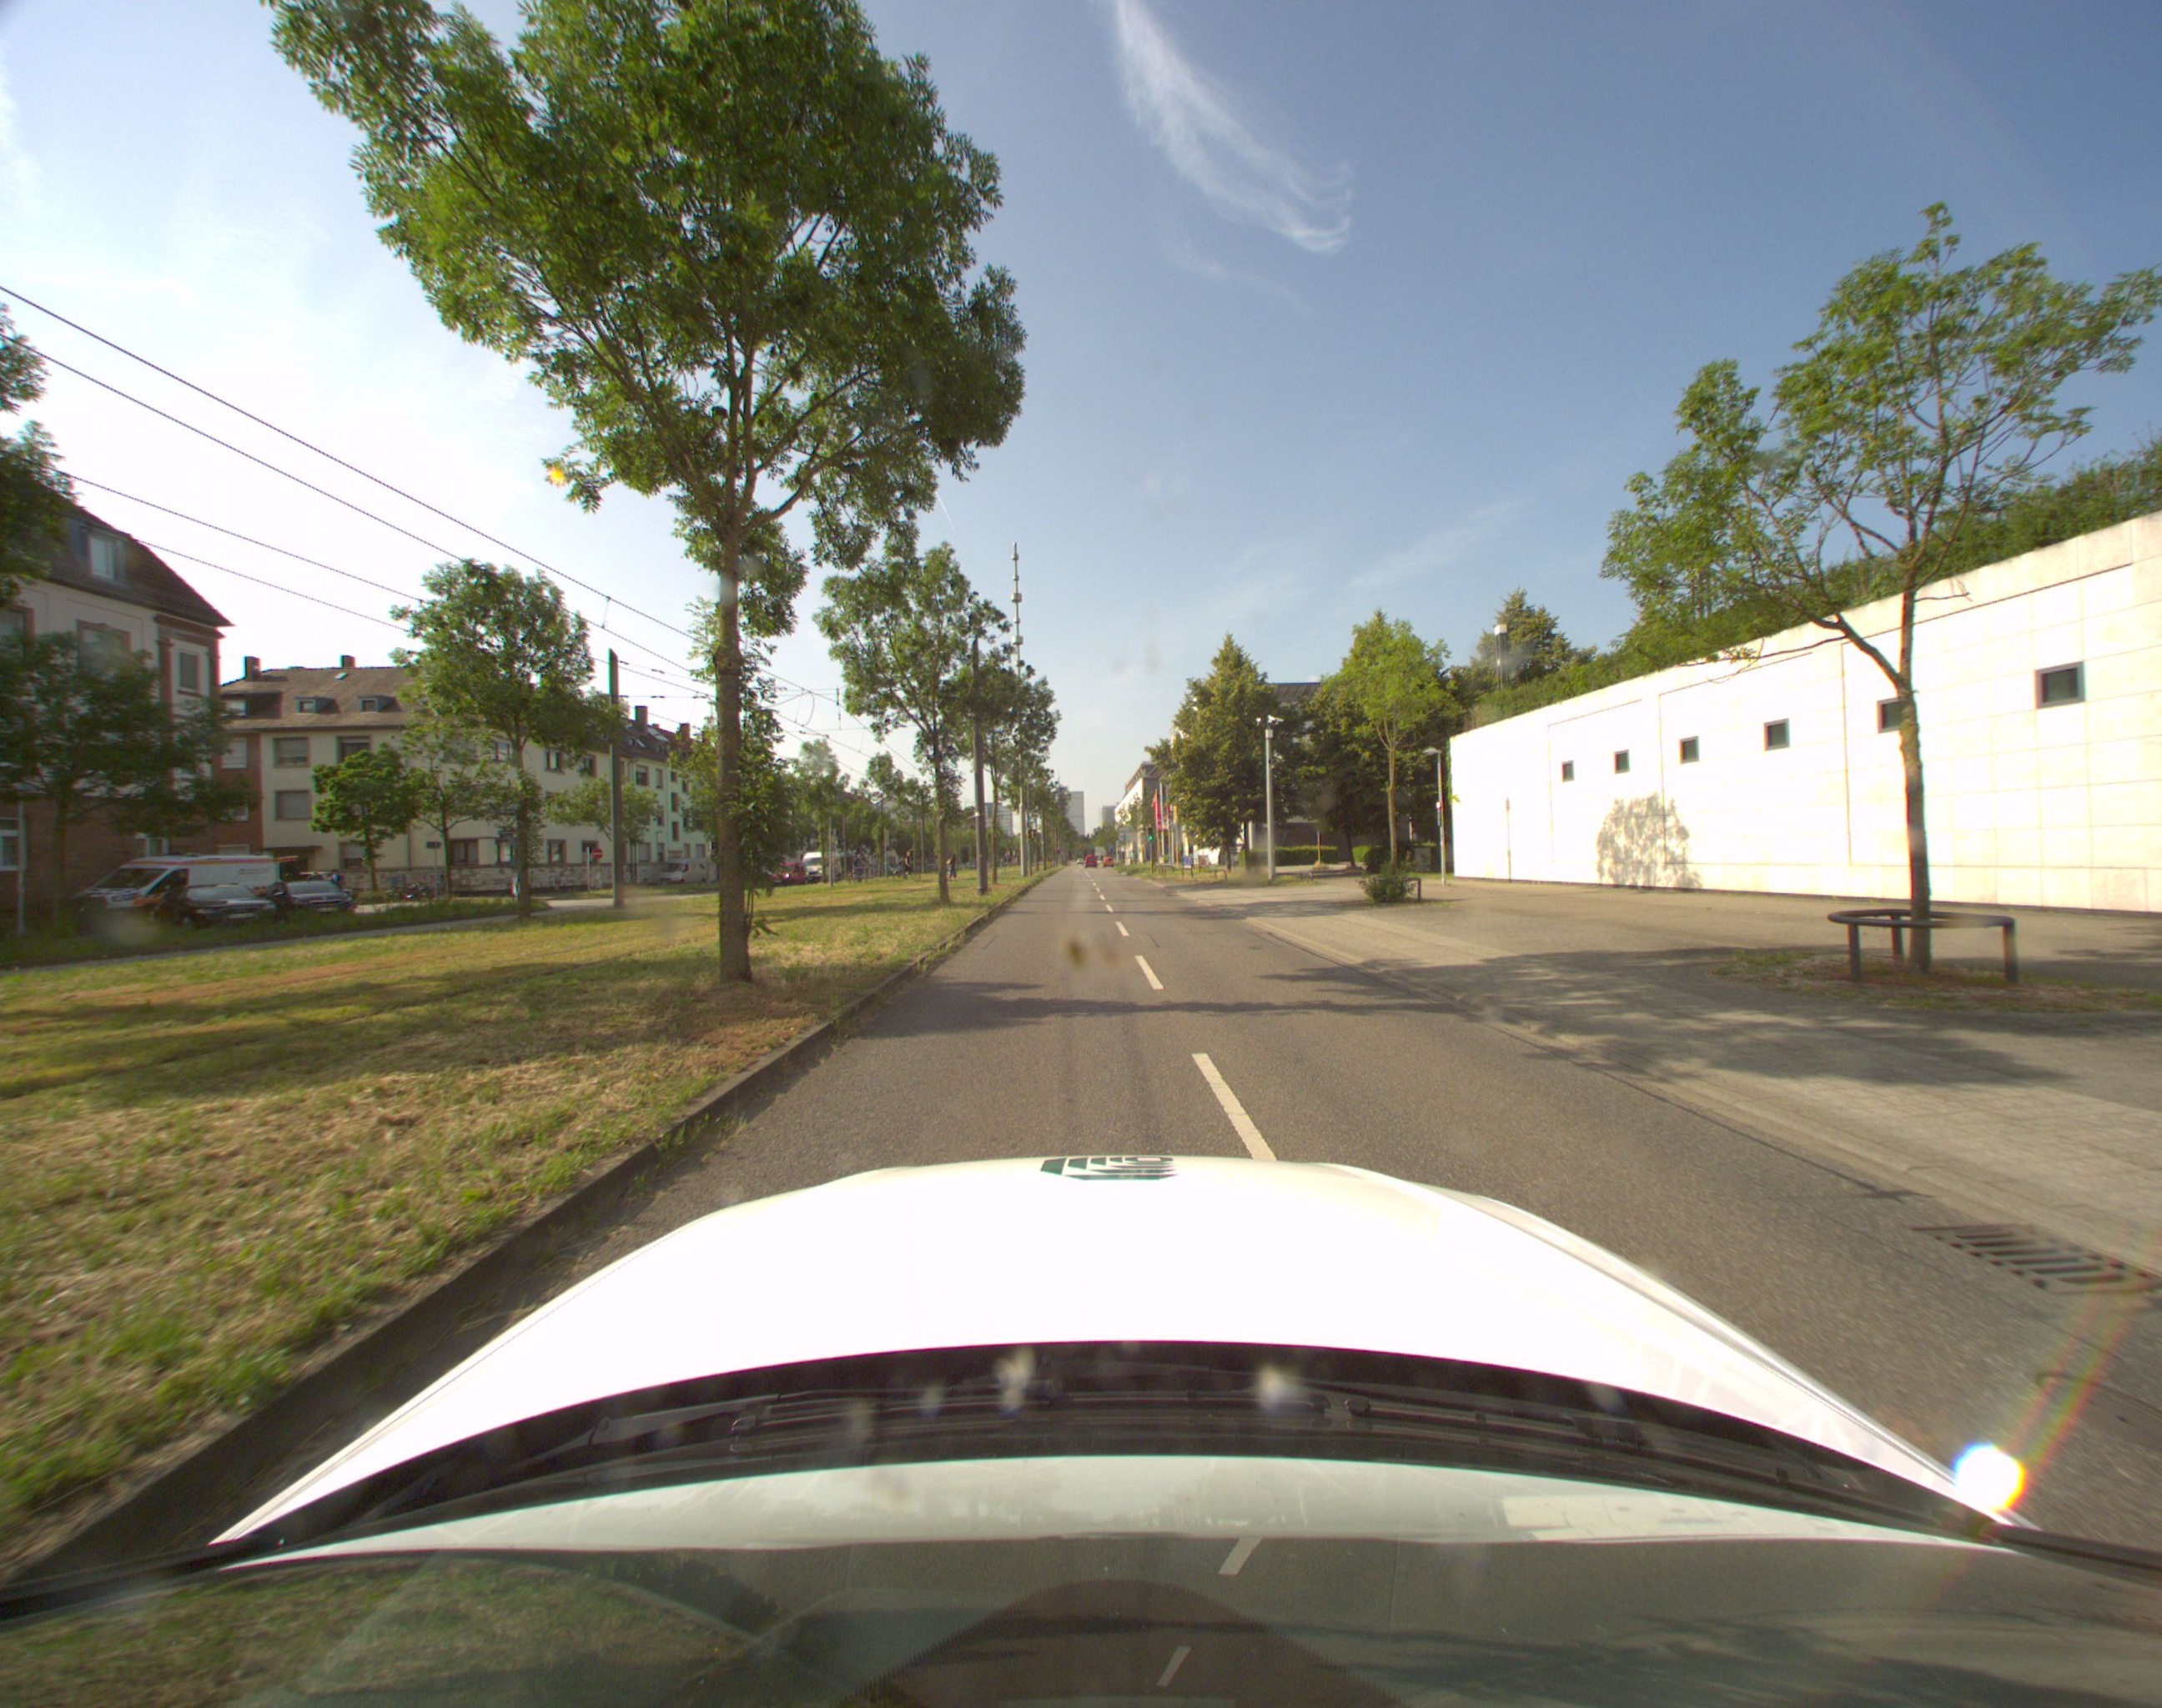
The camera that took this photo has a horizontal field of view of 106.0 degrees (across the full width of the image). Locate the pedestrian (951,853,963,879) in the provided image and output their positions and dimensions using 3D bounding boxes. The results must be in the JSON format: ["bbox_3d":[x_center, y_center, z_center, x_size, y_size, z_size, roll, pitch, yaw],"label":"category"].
[{"bbox_3d":[-7.535,0.748,49.533,0.623,1.572,0.711,1,-1,0],"label":"pedestrian"}]

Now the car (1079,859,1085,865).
[{"bbox_3d":[0.260,2.265,233.186,1.742,1.650,3.215,1,-1,0],"label":"car"}]

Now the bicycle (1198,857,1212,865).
[{"bbox_3d":[14.999,0.858,98.711,1.617,0.888,0.550,1,-1,-2],"label":"bicycle"}]

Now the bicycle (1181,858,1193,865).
[{"bbox_3d":[14.789,1.015,113.488,1.617,0.888,0.550,1,-1,-2],"label":"bicycle"}]

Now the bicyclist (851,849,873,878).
[{"bbox_3d":[-13.482,0.591,50.111,1.153,1.762,0.680,1,-1,-27],"label":"bicyclist"}]

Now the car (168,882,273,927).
[{"bbox_3d":[-25.380,1.438,24.004,3.124,1.161,1.506,0,-1,32],"label":"car"}]

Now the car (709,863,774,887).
[{"bbox_3d":[-26.357,1.601,63.148,5.258,1.738,2.012,0,-1,33],"label":"car"}]

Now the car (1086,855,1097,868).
[{"bbox_3d":[1.627,1.129,125.811,1.742,2.014,3.215,1,-1,0],"label":"car"}]

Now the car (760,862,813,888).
[{"bbox_3d":[-20.767,1.446,57.575,1.956,1.694,4.300,1,-1,3],"label":"car"}]

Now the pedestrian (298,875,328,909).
[{"bbox_3d":[-35.058,1.714,37.193,0.634,1.523,0.726,0,-1,3],"label":"pedestrian"}]

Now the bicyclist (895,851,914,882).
[{"bbox_3d":[-11.211,0.811,51.831,1.147,1.934,0.683,1,-1,-12],"label":"bicyclist"}]

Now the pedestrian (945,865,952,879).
[{"bbox_3d":[-8.064,1.088,49.700,0.340,0.875,0.461,0,-1,0],"label":"pedestrian"}]

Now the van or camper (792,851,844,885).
[{"bbox_3d":[-20.670,1.095,64.302,2.197,2.531,6.027,1,-1,-1],"label":"van or camper"}]

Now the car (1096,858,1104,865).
[{"bbox_3d":[4.467,1.738,192.071,1.742,1.650,3.215,1,-1,0],"label":"car"}]

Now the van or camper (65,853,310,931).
[{"bbox_3d":[-32.586,1.284,30.143,2.033,2.567,6.353,1,-1,-1],"label":"van or camper"}]

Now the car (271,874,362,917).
[{"bbox_3d":[-25.747,1.359,27.413,3.124,1.326,1.506,0,-1,33],"label":"car"}]

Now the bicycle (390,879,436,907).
[{"bbox_3d":[-35.340,2.062,43.083,3.019,1.360,0.986,0,-1,33],"label":"bicycle"}]

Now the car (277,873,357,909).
[{"bbox_3d":[-40.702,1.913,43.503,2.021,1.767,4.292,1,-1,-28],"label":"car"}]

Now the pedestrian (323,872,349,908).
[{"bbox_3d":[-34.908,1.691,38.156,0.579,1.665,0.619,0,-1,3],"label":"pedestrian"}]

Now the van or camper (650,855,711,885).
[{"bbox_3d":[-33.272,1.307,67.829,1.986,2.328,5.829,1,-1,2],"label":"van or camper"}]

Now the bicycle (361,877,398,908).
[{"bbox_3d":[-35.928,1.927,41.697,3.179,1.461,0.936,0,-1,41],"label":"bicycle"}]

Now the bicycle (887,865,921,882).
[{"bbox_3d":[-11.238,1.243,51.778,2.067,1.042,0.665,1,-1,-11],"label":"bicycle"}]

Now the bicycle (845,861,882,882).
[{"bbox_3d":[-13.393,1.076,50.157,2.077,1.324,0.777,1,-1,-26],"label":"bicycle"}]

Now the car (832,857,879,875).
[{"bbox_3d":[-26.259,1.335,94.803,5.170,2.014,1.887,0,-1,25],"label":"car"}]

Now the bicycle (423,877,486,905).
[{"bbox_3d":[-34.725,2.035,45.182,2.662,1.461,1.104,0,-1,3],"label":"bicycle"}]

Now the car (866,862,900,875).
[{"bbox_3d":[-24.253,1.809,99.578,3.951,1.530,1.472,0,-1,25],"label":"car"}]

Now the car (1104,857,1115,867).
[{"bbox_3d":[4.840,1.425,137.777,1.742,1.650,3.215,1,-1,0],"label":"car"}]

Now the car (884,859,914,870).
[{"bbox_3d":[-24.718,1.395,110.549,3.951,1.530,1.472,0,-1,25],"label":"car"}]
